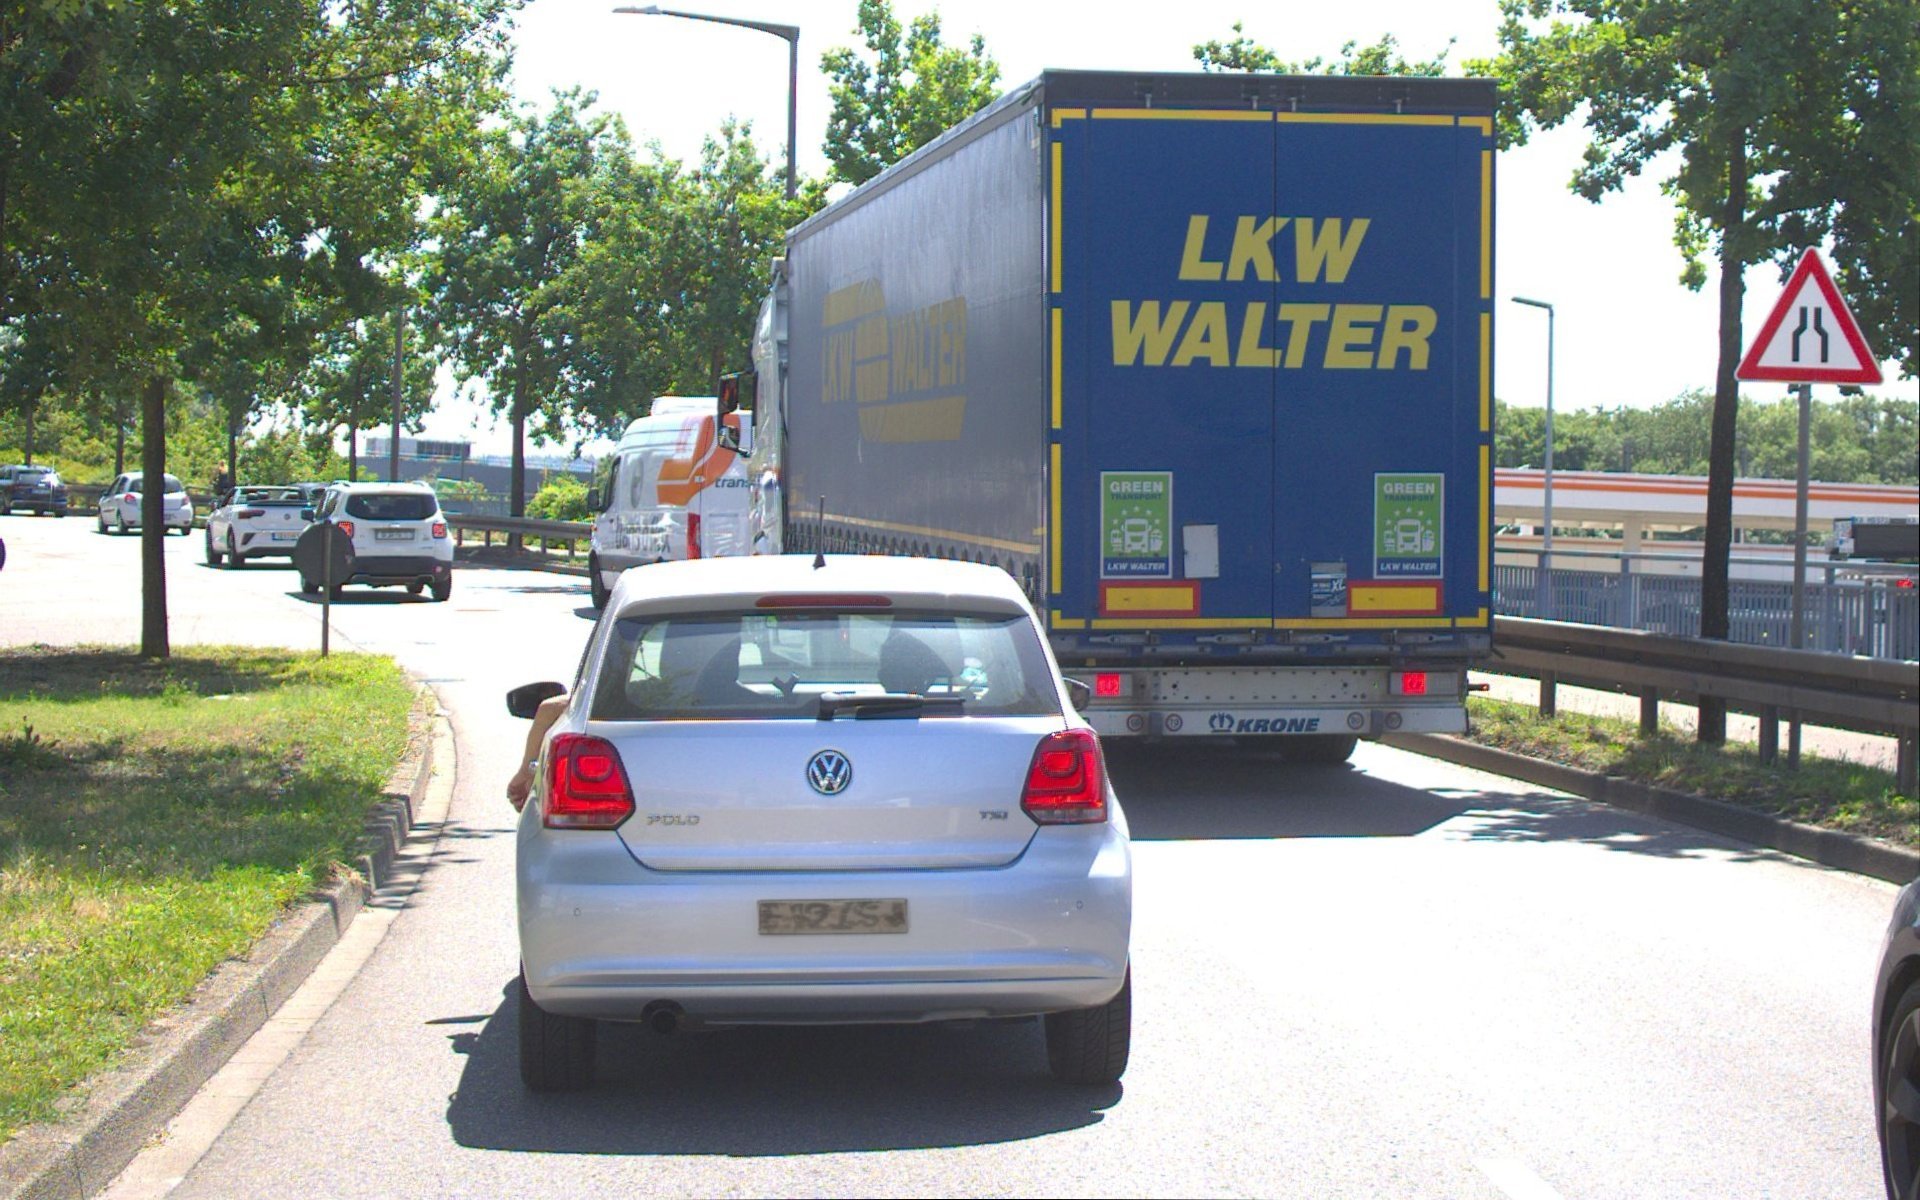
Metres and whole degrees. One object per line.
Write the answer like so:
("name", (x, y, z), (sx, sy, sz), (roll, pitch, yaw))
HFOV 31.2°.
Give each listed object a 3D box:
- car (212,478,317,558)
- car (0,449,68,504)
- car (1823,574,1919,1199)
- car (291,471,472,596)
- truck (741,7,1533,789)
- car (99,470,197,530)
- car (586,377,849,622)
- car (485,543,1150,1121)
("car", (-12.534, -1.482, 61.804), (1.494, 1.355, 3.664), (1, 1, -17))
("car", (-26.311, -3.488, 97.504), (1.664, 1.460, 3.582), (1, 0, -19))
("car", (2.799, 0.703, 5.297), (1.604, 1.451, 4.236), (1, 0, -4))
("car", (-8.458, -0.948, 49.970), (1.903, 1.712, 4.225), (1, 0, -19))
("truck", (0.465, -1.265, 26.857), (2.832, 4.184, 16.479), (1, 1, -9))
("car", (-19.447, -2.393, 82.264), (1.607, 1.355, 3.663), (1, 1, -24))
("car", (-3.237, -1.333, 44.365), (2.175, 2.890, 6.361), (1, 2, -15))
("car", (-0.468, 0.571, 10.405), (1.646, 1.434, 3.537), (1, 0, -4))
